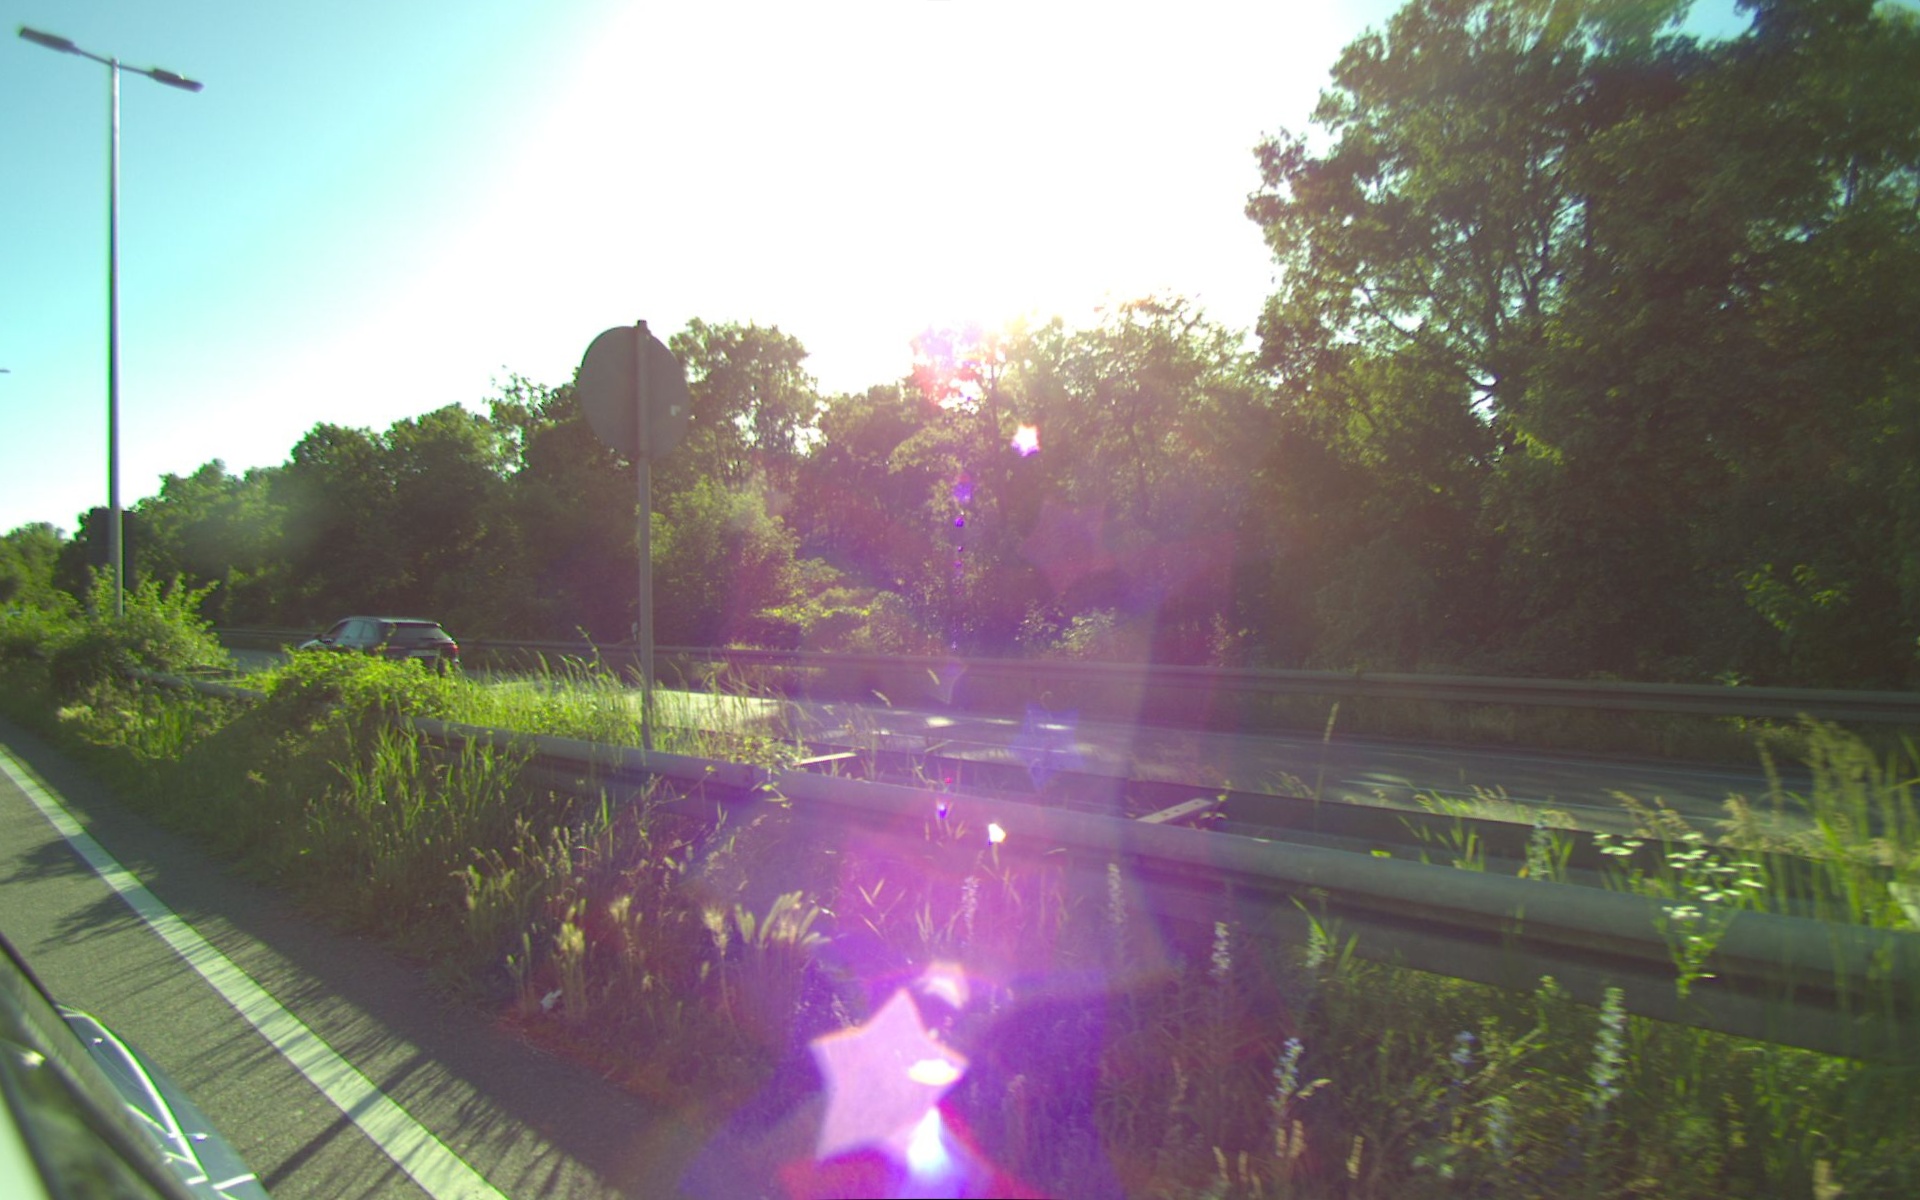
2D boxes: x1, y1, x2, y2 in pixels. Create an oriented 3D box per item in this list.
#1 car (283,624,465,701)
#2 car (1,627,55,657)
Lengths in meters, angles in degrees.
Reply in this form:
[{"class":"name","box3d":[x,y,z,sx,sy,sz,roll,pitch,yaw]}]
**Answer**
[{"class":"car","box3d":[-12.124,1.220,20.826,4.527,1.427,1.787,-2,-3,40]},{"class":"car","box3d":[-52.439,2.345,56.910,4.215,1.581,1.751,-2,-2,41]}]
